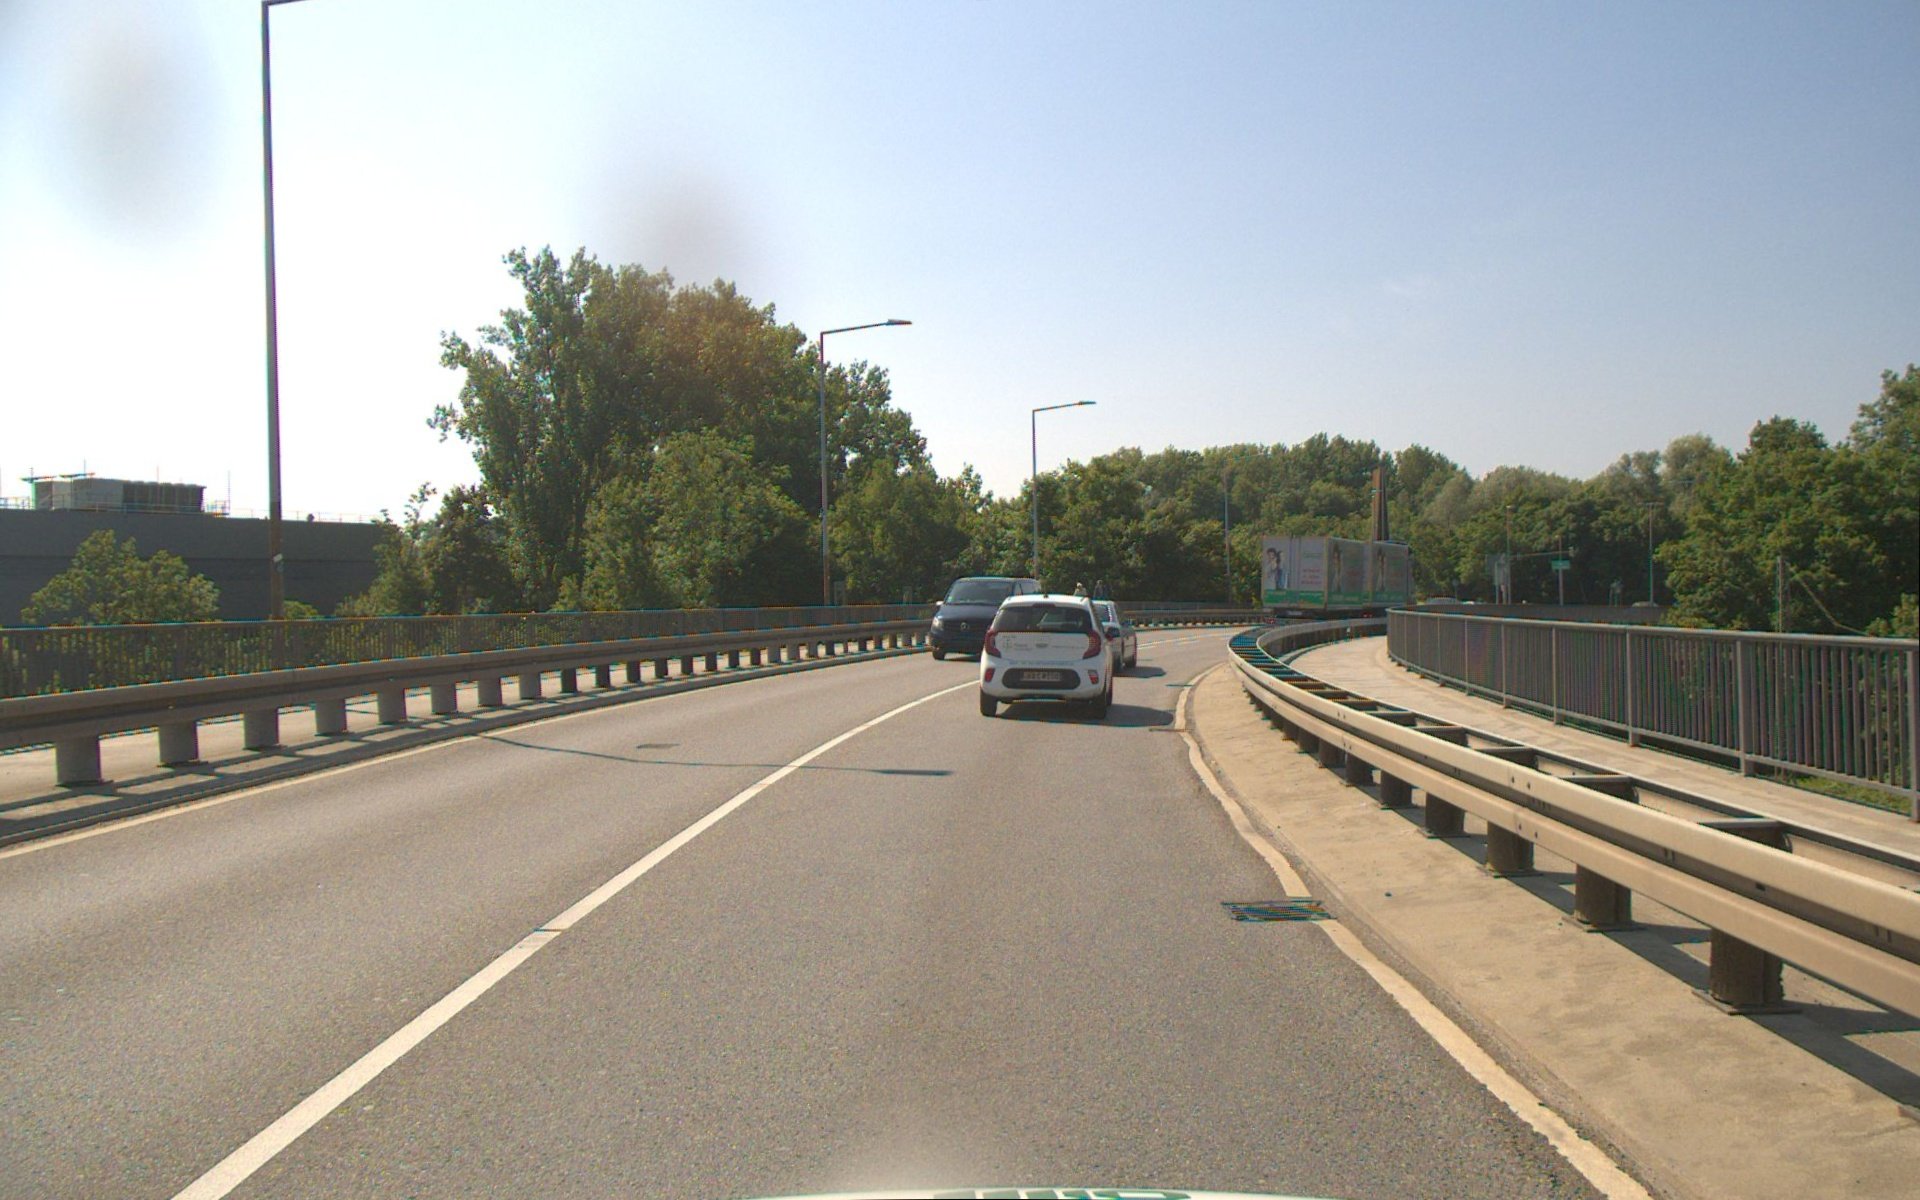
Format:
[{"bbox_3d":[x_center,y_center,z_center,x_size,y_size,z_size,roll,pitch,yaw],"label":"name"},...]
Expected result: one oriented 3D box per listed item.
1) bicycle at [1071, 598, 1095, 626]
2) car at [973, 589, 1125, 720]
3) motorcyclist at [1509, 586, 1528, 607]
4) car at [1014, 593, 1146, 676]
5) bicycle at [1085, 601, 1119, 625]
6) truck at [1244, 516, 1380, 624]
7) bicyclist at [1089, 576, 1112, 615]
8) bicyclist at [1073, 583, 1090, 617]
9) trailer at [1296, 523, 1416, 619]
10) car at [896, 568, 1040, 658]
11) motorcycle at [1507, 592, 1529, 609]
[{"bbox_3d":[5.020,0.492,67.534,0.562,1.065,1.710,-2,0,19],"label":"bicycle"},{"bbox_3d":[1.268,0.647,21.999,1.665,1.520,4.003,2,1,8],"label":"car"},{"bbox_3d":[52.227,-0.340,154.610,0.878,1.903,1.453,2,-1,-25],"label":"motorcyclist"},{"bbox_3d":[2.524,0.630,33.633,1.898,1.512,4.904,1,1,13],"label":"car"},{"bbox_3d":[5.695,0.521,66.225,0.909,0.906,1.968,1,1,20],"label":"bicycle"},{"bbox_3d":[13.902,-1.174,64.738,3.197,3.823,8.364,3,2,26],"label":"truck"},{"bbox_3d":[5.619,-0.171,66.057,0.647,1.522,1.016,1,2,23],"label":"bicyclist"},{"bbox_3d":[4.948,0.003,67.303,0.478,1.352,0.947,1,-1,18],"label":"bicyclist"},{"bbox_3d":[17.185,-1.259,71.389,3.162,3.823,7.816,3,2,27],"label":"trailer"},{"bbox_3d":[0.301,0.258,39.134,2.031,1.921,5.920,1,1,14],"label":"car"},{"bbox_3d":[52.190,0.047,154.653,0.885,1.556,1.968,2,-1,-24],"label":"motorcycle"}]
